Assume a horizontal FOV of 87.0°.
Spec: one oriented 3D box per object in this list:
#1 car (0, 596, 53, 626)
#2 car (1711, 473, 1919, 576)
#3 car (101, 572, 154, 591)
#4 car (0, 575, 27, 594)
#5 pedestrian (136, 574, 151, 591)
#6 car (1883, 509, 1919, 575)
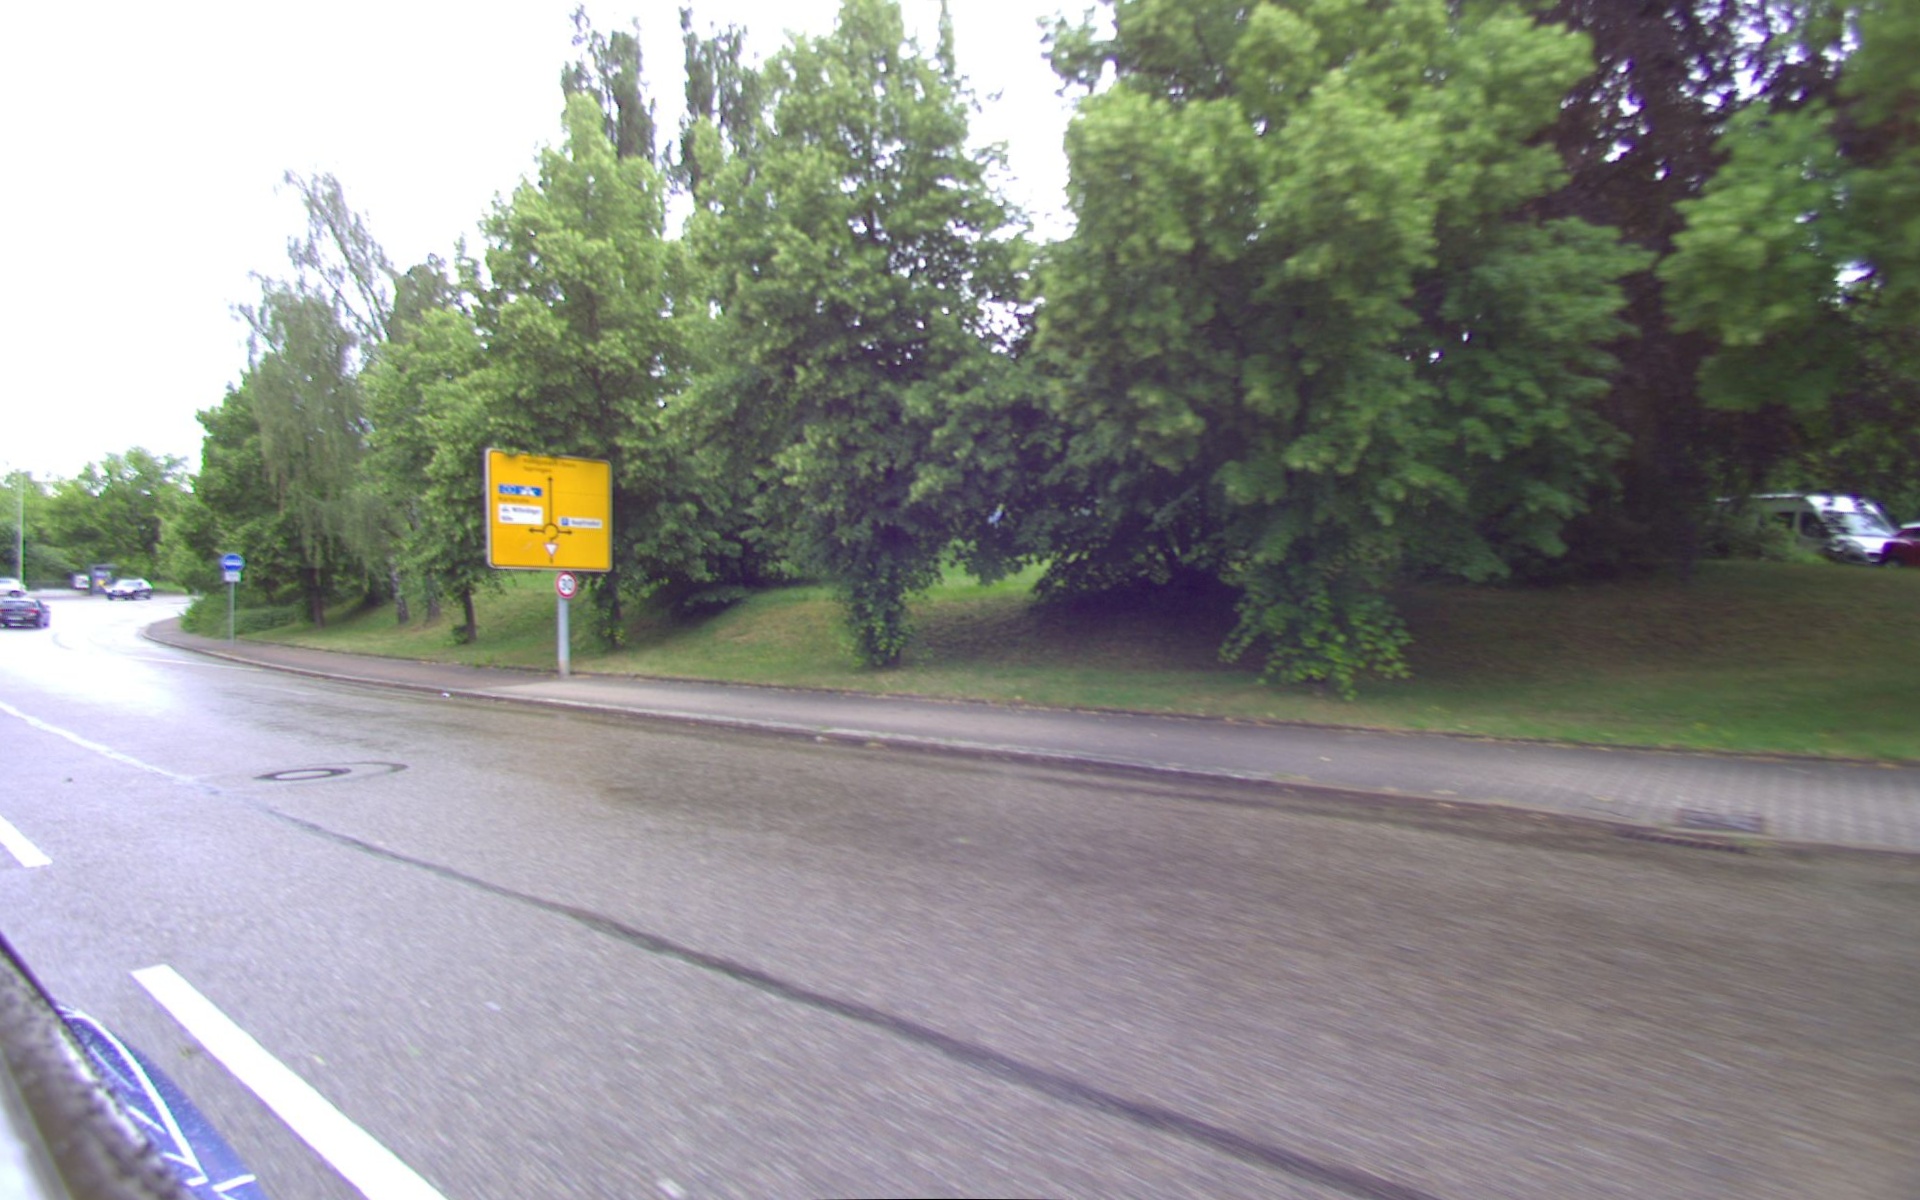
[{"bbox_3d":[-45.618,0.537,49.308,1.699,1.394,4.149,2,-1,-36],"label":"car"},{"bbox_3d":[25.368,-2.097,29.986,2.129,2.719,5.666,-1,1,3],"label":"car"},{"bbox_3d":[-68.762,-1.489,83.656,1.831,1.425,4.398,-1,-1,-16],"label":"car"},{"bbox_3d":[-79.817,-1.317,83.606,3.807,1.578,1.731,2,-1,-37],"label":"car"},{"bbox_3d":[-80.315,-1.702,99.516,0.912,1.667,1.101,0,0,-27],"label":"pedestrian"},{"bbox_3d":[25.322,-1.473,24.626,1.949,1.680,4.002,-2,1,-2],"label":"car"}]
